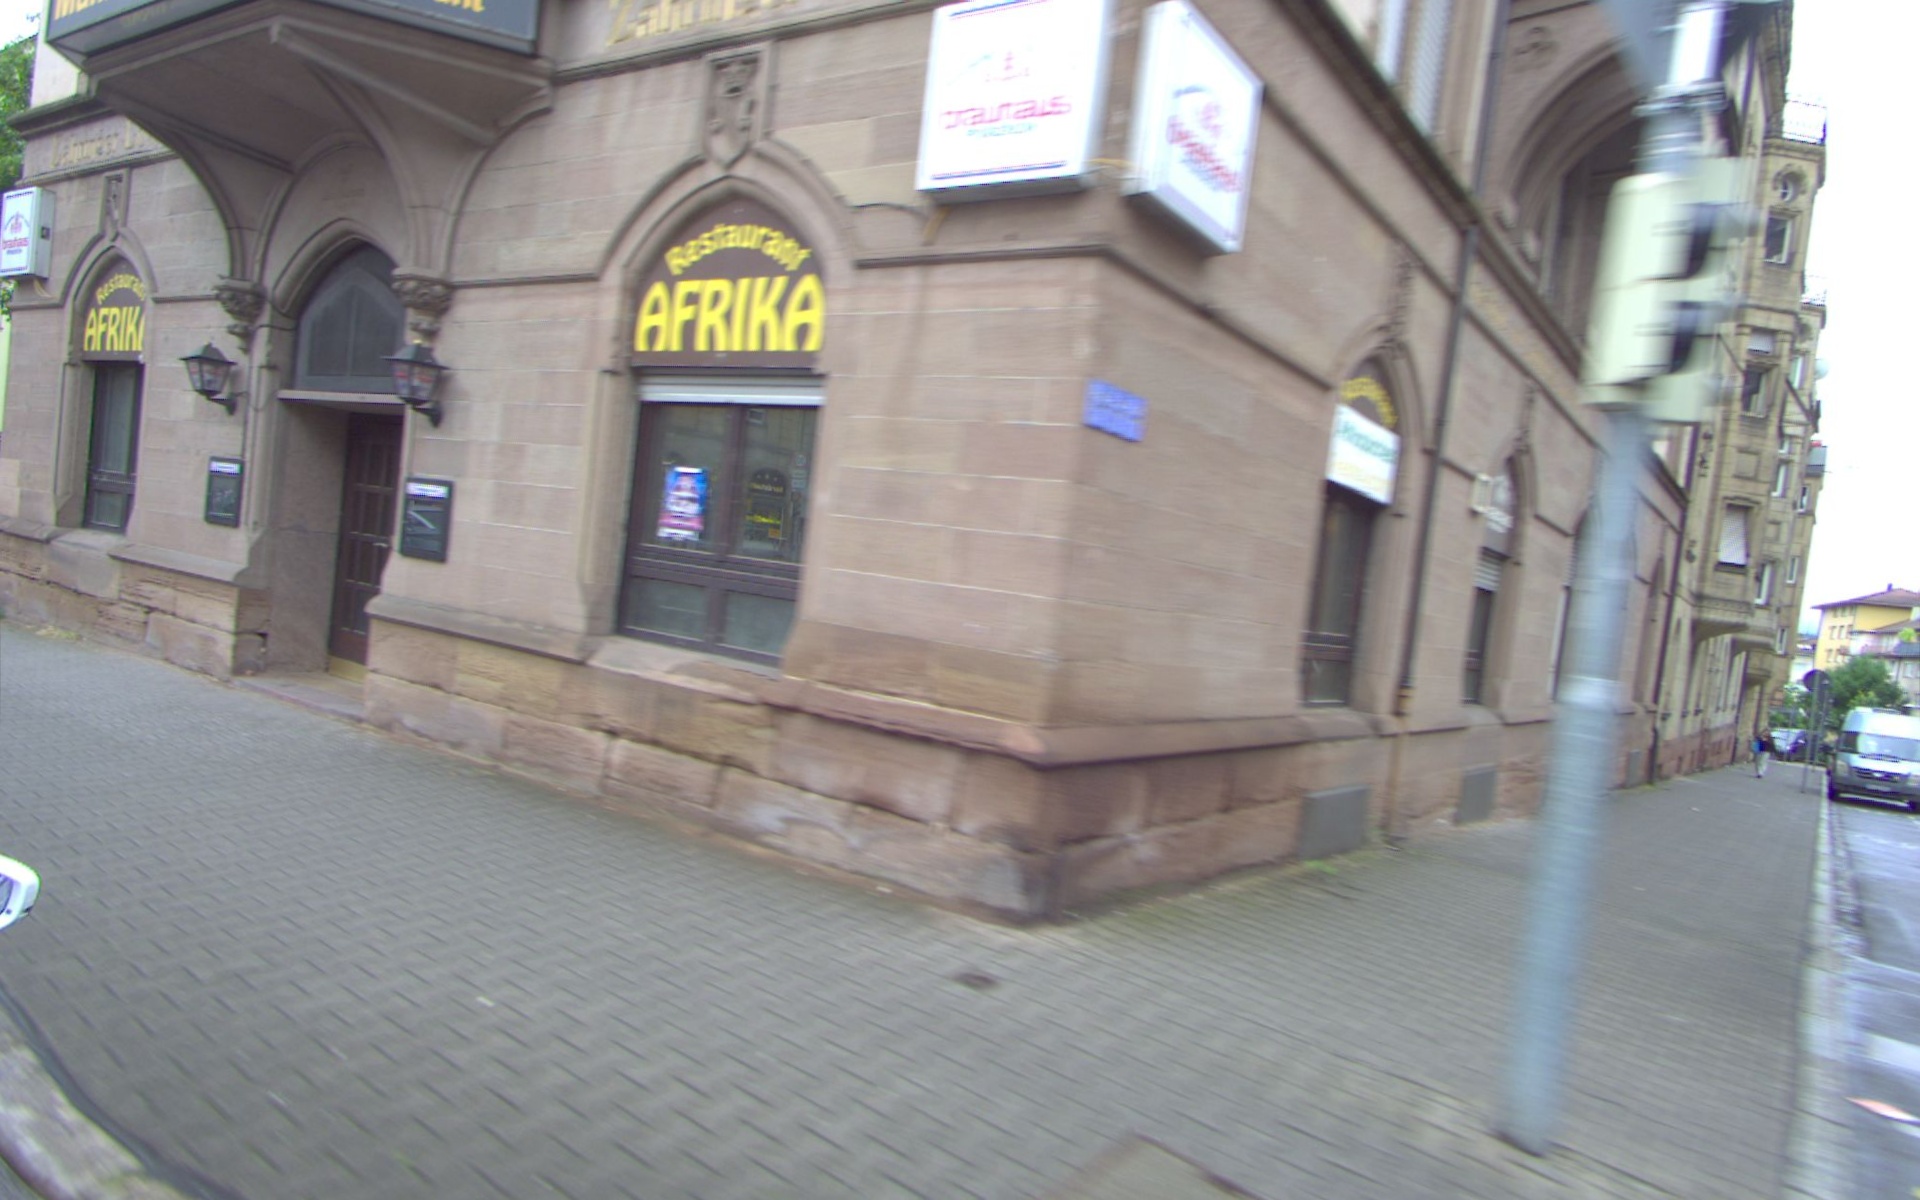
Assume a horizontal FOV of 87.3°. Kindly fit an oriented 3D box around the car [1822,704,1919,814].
[{"bbox_3d":[25.904,4.435,28.365,2.096,2.564,5.449,6,-2,42],"label":"car"}]

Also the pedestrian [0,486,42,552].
[{"bbox_3d":[-26.979,-2.321,28.906,0.553,1.796,0.542,7,0,-24],"label":"pedestrian"}]

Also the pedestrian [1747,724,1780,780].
[{"bbox_3d":[25.566,4.831,32.011,0.651,1.664,0.566,6,-1,36],"label":"pedestrian"}]

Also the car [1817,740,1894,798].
[{"bbox_3d":[30.994,5.808,34.904,1.648,1.588,3.917,8,-1,40],"label":"car"}]

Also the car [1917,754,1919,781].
[{"bbox_3d":[61.852,10.690,61.956,1.691,1.707,3.769,7,-1,-22],"label":"car"}]

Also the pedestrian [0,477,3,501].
[{"bbox_3d":[-16.184,-1.236,16.154,0.822,1.698,0.887,8,-1,-29],"label":"pedestrian"}]

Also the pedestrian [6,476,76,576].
[{"bbox_3d":[-17.263,-1.368,18.910,0.565,1.754,0.729,7,-1,-19],"label":"pedestrian"}]
